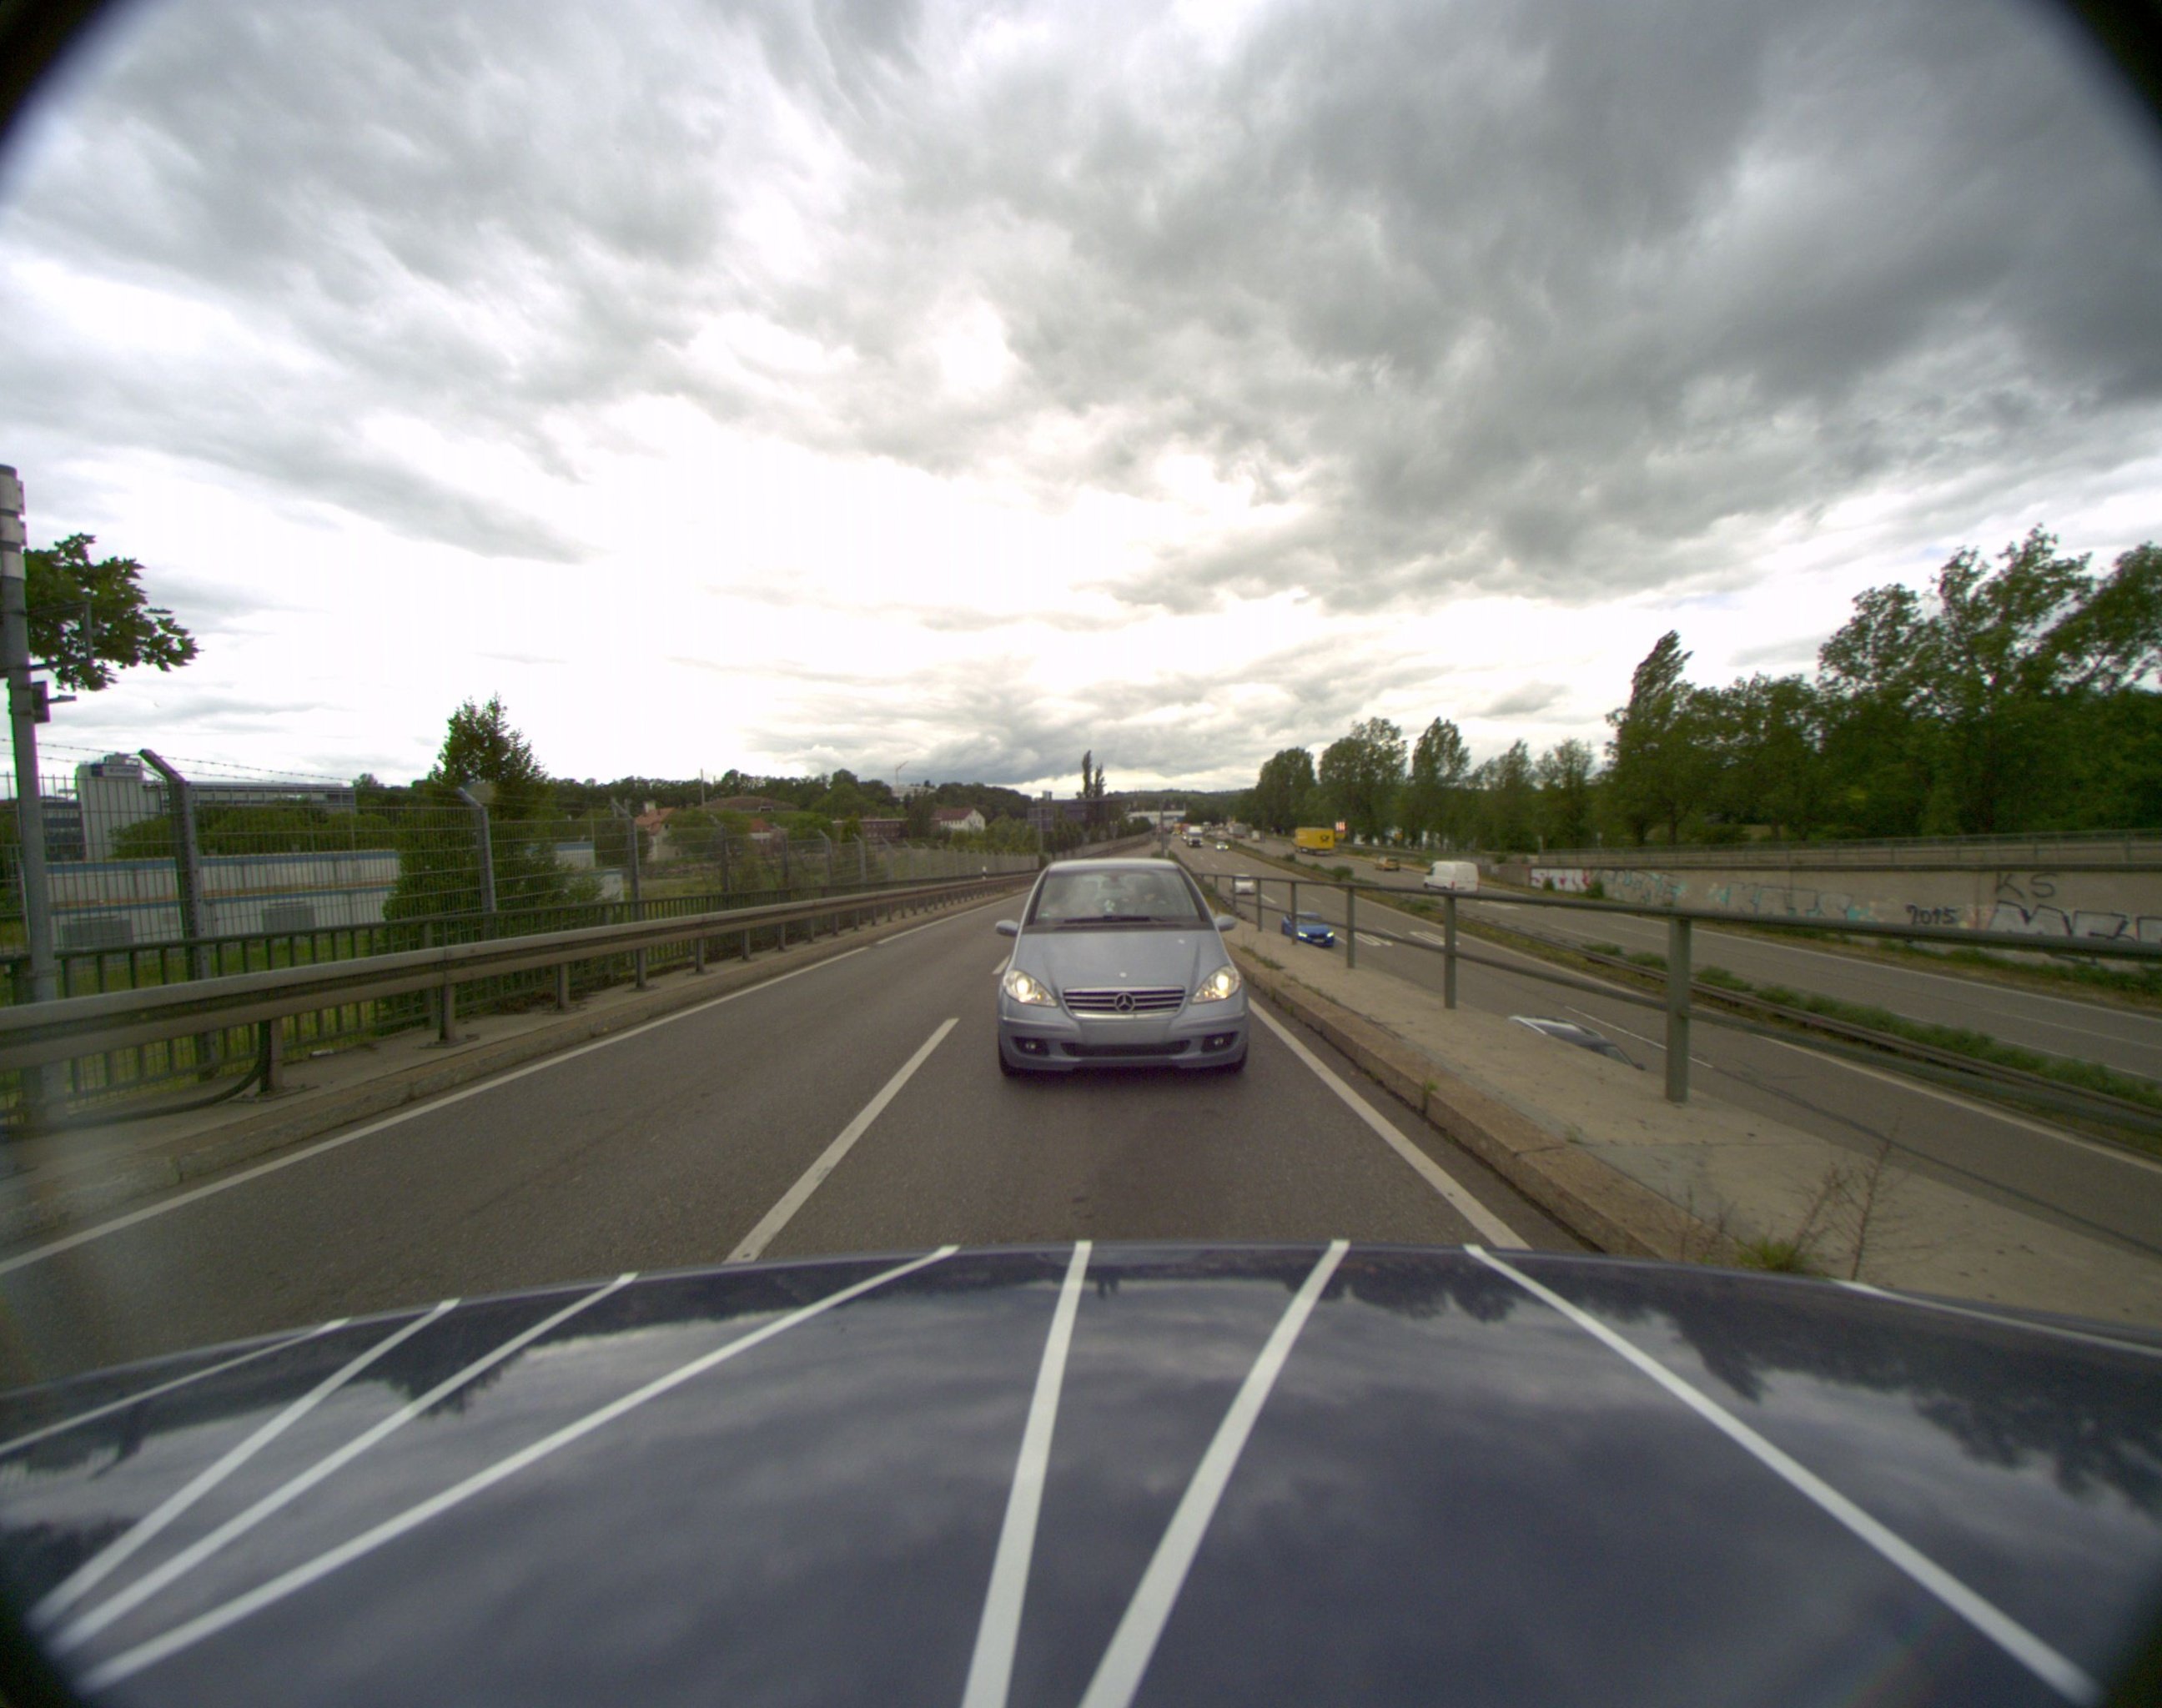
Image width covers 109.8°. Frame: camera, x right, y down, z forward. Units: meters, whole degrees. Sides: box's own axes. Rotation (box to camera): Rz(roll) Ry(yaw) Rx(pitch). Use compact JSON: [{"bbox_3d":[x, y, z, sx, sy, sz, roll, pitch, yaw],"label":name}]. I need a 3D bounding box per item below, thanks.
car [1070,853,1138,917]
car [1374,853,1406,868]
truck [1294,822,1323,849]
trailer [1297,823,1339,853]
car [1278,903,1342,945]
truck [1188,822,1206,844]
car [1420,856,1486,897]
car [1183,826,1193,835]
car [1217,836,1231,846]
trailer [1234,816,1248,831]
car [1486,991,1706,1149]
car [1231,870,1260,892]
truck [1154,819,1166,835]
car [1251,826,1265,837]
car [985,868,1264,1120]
[{"bbox_3d":[0.670,0.879,23.046,1.830,1.701,4.001,-2,-1,1],"label":"car"},{"bbox_3d":[33.819,0.698,83.295,1.872,1.449,4.151,-1,3,1],"label":"car"},{"bbox_3d":[36.911,-3.020,123.421,3.247,4.159,5.803,0,3,5],"label":"truck"},{"bbox_3d":[36.280,-2.615,116.883,3.247,4.239,13.678,0,3,5],"label":"trailer"},{"bbox_3d":[11.294,3.433,37.748,1.998,1.524,3.998,0,3,1],"label":"car"},{"bbox_3d":[22.751,-4.175,149.249,3.010,4.087,5.872,0,3,4],"label":"truck"},{"bbox_3d":[28.542,1.653,58.547,2.172,2.580,6.099,-1,3,1],"label":"car"},{"bbox_3d":[27.245,-5.976,193.625,2.104,2.231,6.498,0,3,3],"label":"car"},{"bbox_3d":[25.197,-2.253,134.245,1.854,1.562,4.436,-1,4,2],"label":"car"},{"bbox_3d":[47.667,-9.099,226.461,2.792,4.117,13.762,-1,3,6],"label":"trailer"},{"bbox_3d":[10.587,4.361,16.068,1.998,2.003,3.999,1,3,3],"label":"car"},{"bbox_3d":[13.245,2.132,61.420,1.769,1.520,3.335,0,3,3],"label":"car"},{"bbox_3d":[20.980,-7.211,202.524,3.101,3.990,8.487,-1,4,5],"label":"truck"},{"bbox_3d":[42.026,-5.343,180.426,1.998,2.614,6.711,1,3,3],"label":"car"},{"bbox_3d":[0.307,0.923,6.793,1.743,1.534,3.993,-1,0,1],"label":"car"}]
